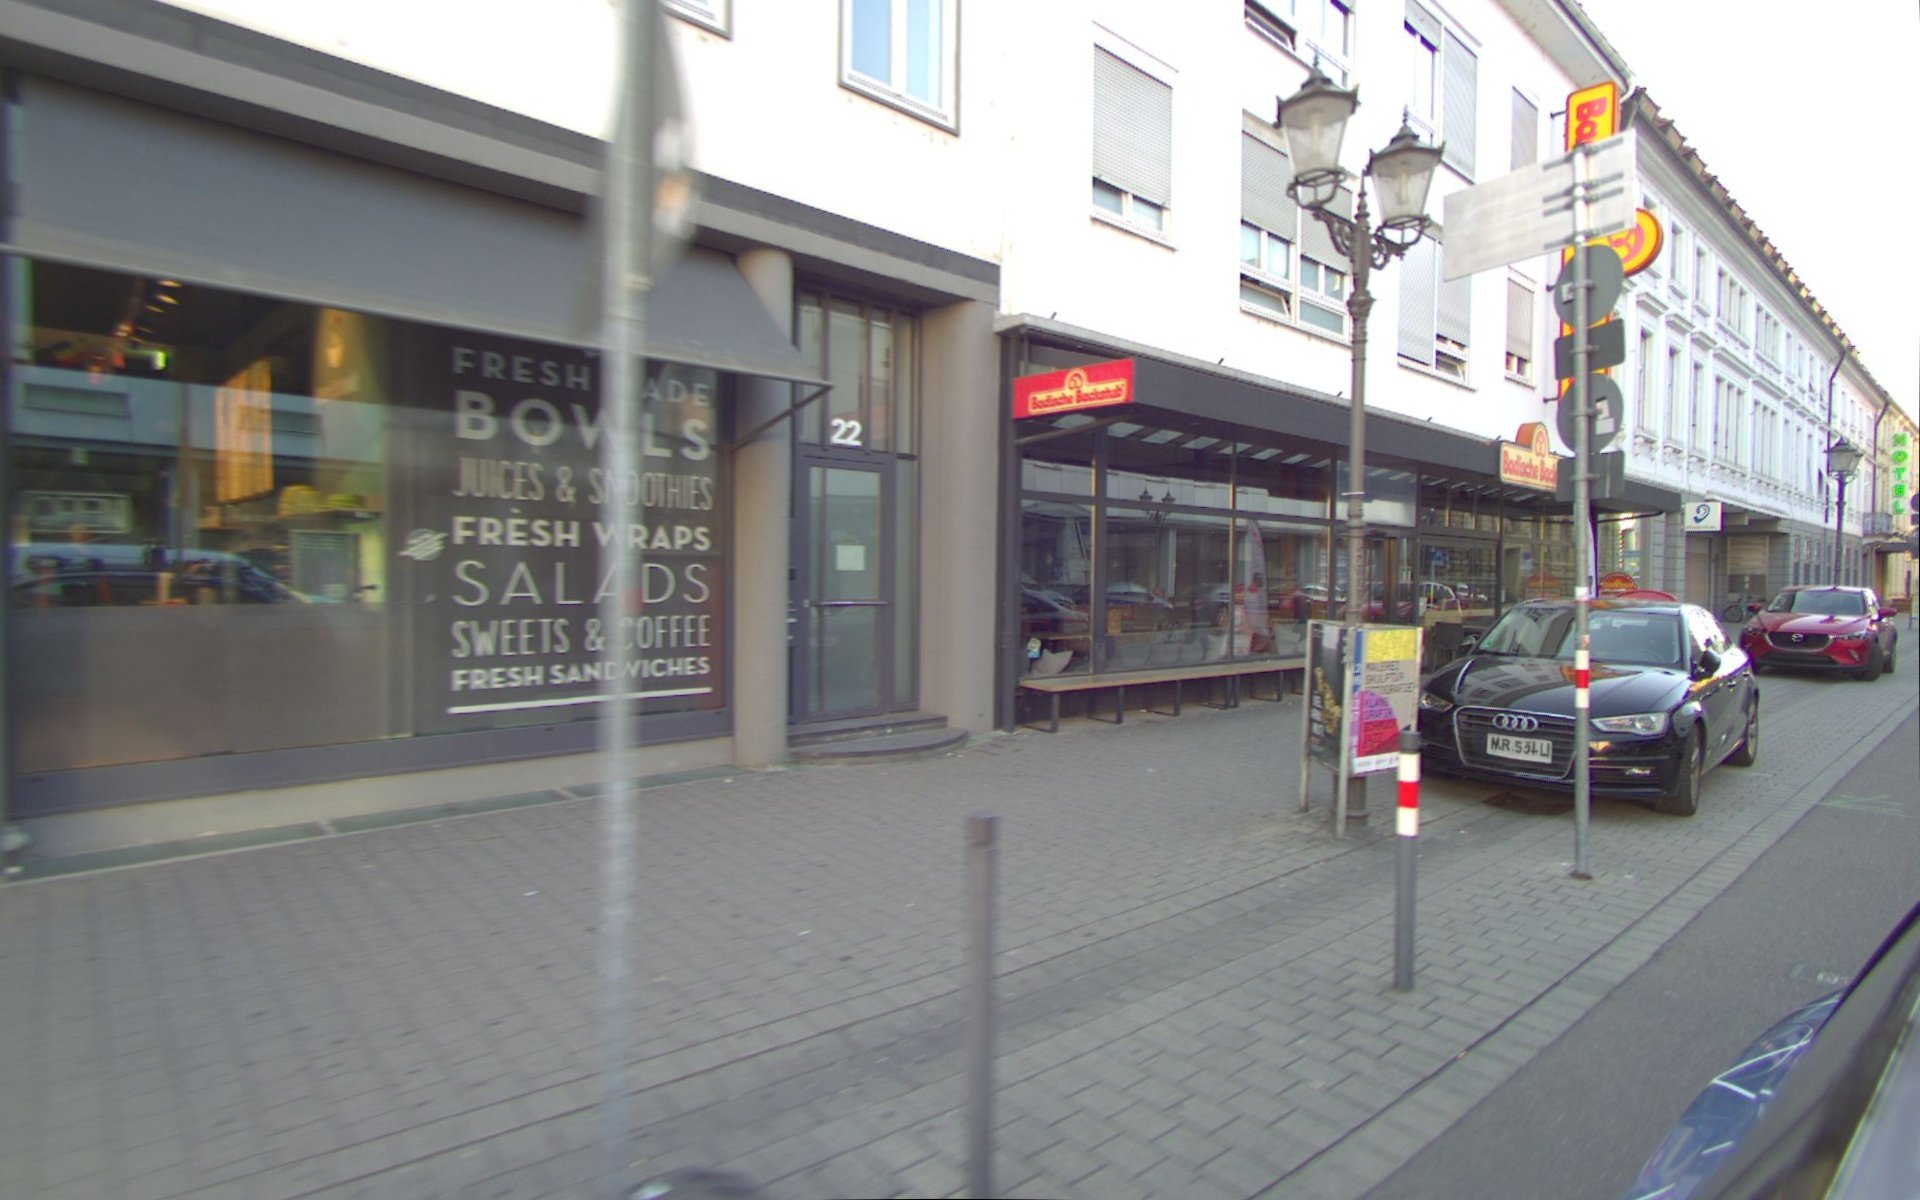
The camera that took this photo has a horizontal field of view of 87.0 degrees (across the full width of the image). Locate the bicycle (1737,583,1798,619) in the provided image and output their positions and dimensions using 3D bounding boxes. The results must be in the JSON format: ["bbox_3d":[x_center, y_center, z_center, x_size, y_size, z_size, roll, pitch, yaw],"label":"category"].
[{"bbox_3d":[29.245,0.029,36.671,0.432,1.268,1.658,0,1,-44],"label":"bicycle"}]

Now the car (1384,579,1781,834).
[{"bbox_3d":[5.139,0.591,8.108,4.050,1.482,1.803,-1,3,-45],"label":"car"}]

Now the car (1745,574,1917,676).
[{"bbox_3d":[15.235,0.360,17.643,3.614,1.541,1.763,-1,3,-42],"label":"car"}]
